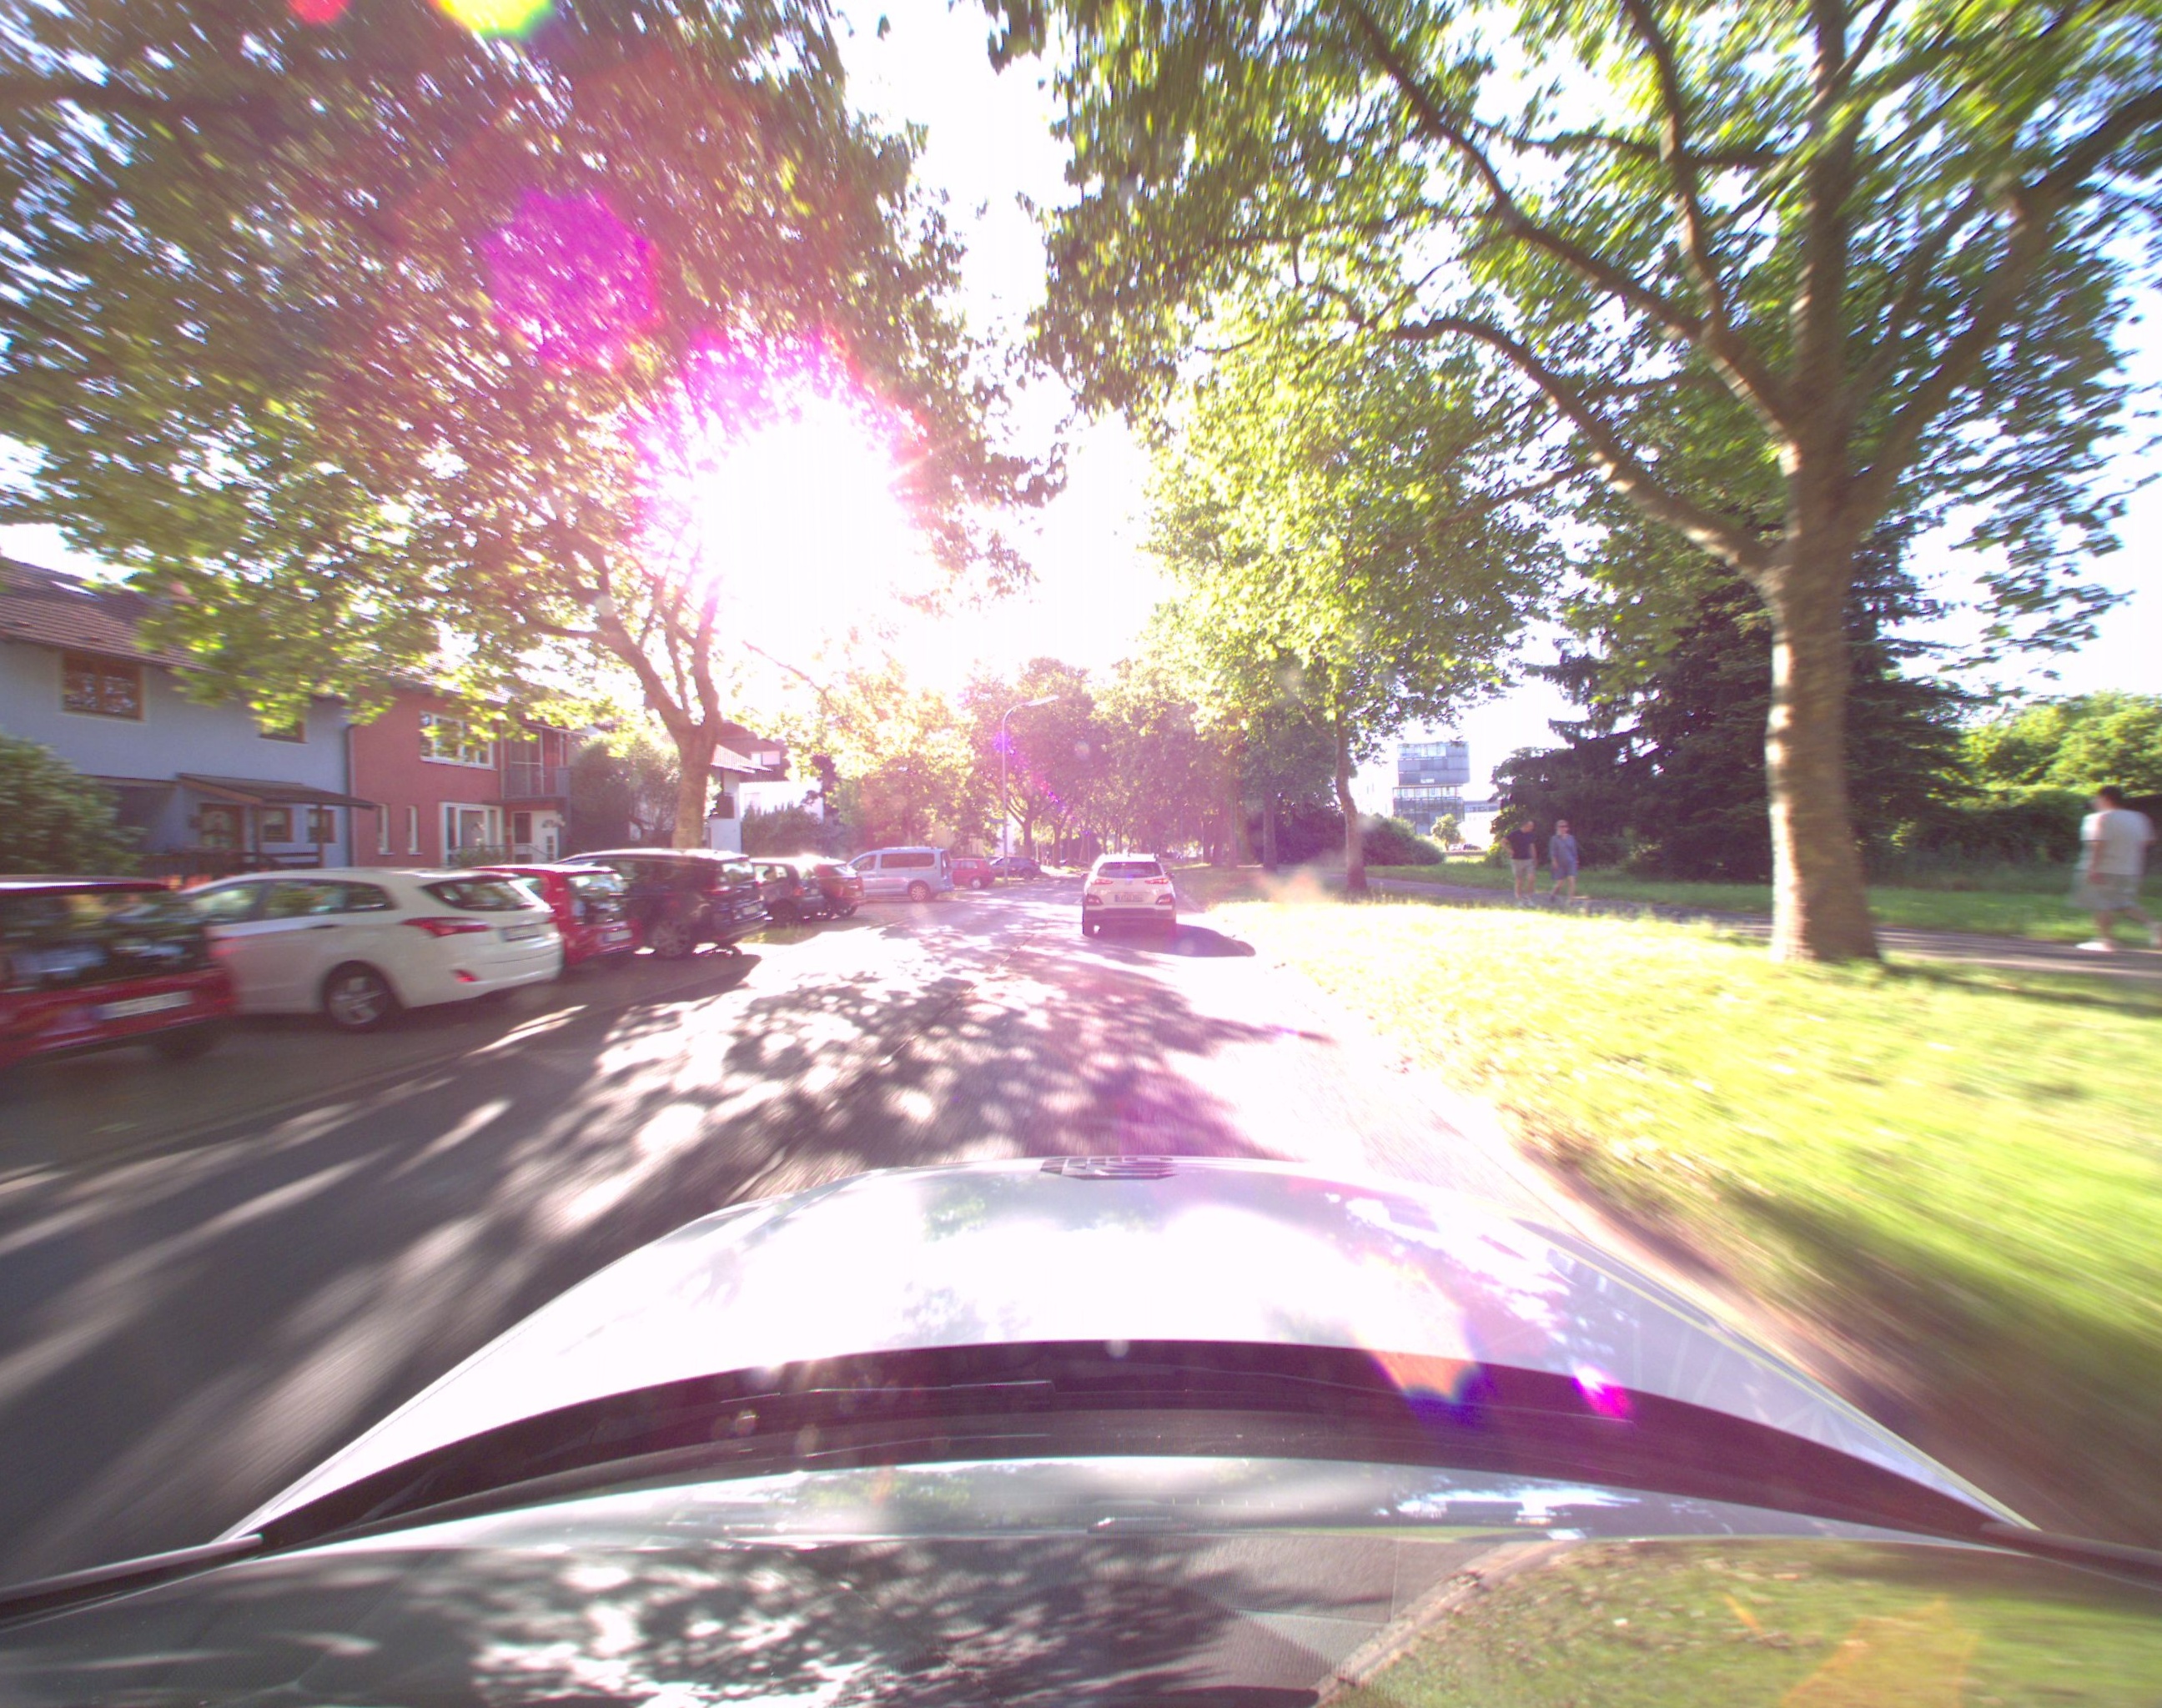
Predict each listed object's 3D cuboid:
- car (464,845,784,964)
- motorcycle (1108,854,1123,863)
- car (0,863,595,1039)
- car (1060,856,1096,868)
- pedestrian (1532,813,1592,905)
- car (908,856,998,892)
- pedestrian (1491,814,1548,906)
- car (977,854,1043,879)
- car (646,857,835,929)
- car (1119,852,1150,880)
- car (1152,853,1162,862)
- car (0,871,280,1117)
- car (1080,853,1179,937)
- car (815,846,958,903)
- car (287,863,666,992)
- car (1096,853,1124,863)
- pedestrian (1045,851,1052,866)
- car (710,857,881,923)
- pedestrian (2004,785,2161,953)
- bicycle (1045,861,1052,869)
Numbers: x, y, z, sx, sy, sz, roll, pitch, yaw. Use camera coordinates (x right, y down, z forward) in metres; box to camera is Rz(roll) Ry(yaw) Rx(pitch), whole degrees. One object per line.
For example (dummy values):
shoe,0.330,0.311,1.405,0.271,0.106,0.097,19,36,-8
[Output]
car,-7.182,0.760,13.103,4.076,1.716,1.832,-1,0,2
motorcycle,5.534,0.757,129.914,2.375,1.388,0.649,-1,0,3
car,-7.567,0.877,8.223,4.147,1.501,1.876,-1,0,0
car,-0.326,0.866,90.233,3.807,1.316,1.793,0,0,5
pedestrian,9.988,0.109,16.933,0.751,1.847,0.804,-2,0,6
car,-5.914,0.922,37.966,3.857,1.518,1.665,-2,0,1
pedestrian,9.175,0.119,17.059,0.757,1.846,0.789,-2,0,6
car,-4.481,0.772,51.913,3.974,1.518,1.818,-1,0,1
car,-7.512,0.834,18.227,3.502,1.517,1.726,0,0,-2
car,3.163,0.685,48.435,1.755,1.523,3.924,-1,0,4
car,13.713,0.620,146.914,1.681,1.465,3.699,-1,-1,5
car,-8.296,0.900,5.874,3.328,1.480,1.695,-1,0,0
car,0.922,0.764,17.042,1.829,1.555,4.000,0,0,0
car,-6.603,0.695,28.048,4.370,1.824,1.996,-1,0,1
car,-7.895,0.915,10.897,3.744,1.483,1.755,-1,0,2
car,4.566,0.618,127.445,4.164,1.584,2.002,-1,0,4
pedestrian,-3.714,0.503,93.943,0.613,1.716,1.067,-1,0,6
car,-7.116,0.874,20.540,3.627,1.517,1.783,-1,0,2
pedestrian,10.671,0.142,8.578,0.776,1.649,0.939,-2,0,2
bicycle,-3.713,1.232,94.025,0.467,0.880,2.159,-1,0,6
